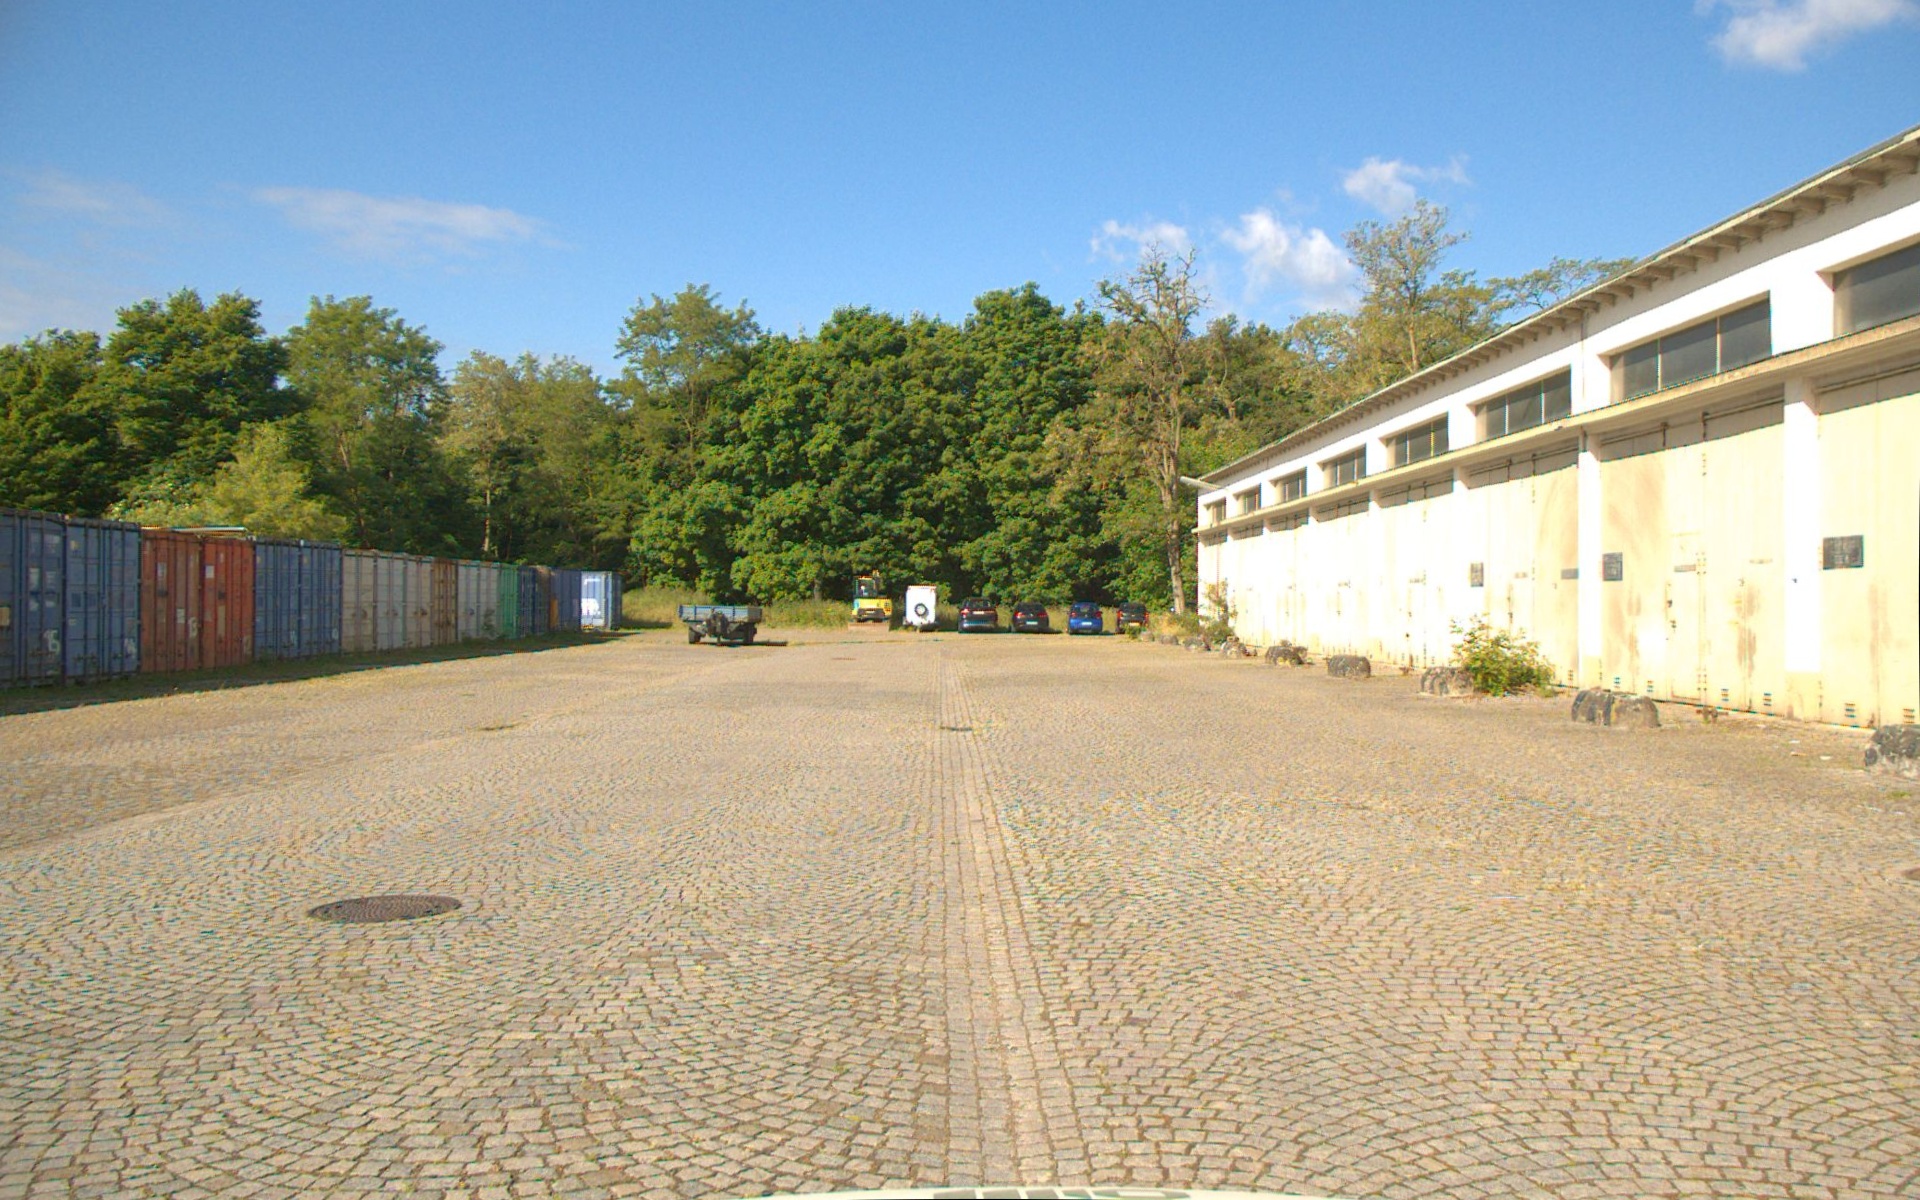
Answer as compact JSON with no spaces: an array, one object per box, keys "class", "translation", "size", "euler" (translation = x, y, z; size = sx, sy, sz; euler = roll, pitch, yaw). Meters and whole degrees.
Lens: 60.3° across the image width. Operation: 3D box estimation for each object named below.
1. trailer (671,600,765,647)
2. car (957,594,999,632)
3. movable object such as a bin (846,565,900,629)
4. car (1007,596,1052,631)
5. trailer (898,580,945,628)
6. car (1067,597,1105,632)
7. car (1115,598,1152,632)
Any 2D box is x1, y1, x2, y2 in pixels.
[{"class":"trailer","translation":[-8.670,0.804,59.877],"size":[2.651,1.491,6.245],"euler":[1,1,-2]},{"class":"car","translation":[0.818,0.608,77.756],"size":[1.826,1.617,4.295],"euler":[1,1,-1]},{"class":"movable object such as a bin","translation":[-4.199,-0.186,80.642],"size":[2.259,2.947,5.751],"euler":[1,1,0]},{"class":"car","translation":[3.255,0.600,78.165],"size":[1.826,1.496,4.295],"euler":[1,1,-1]},{"class":"trailer","translation":[-1.859,0.147,80.088],"size":[2.148,2.131,5.750],"euler":[1,1,-1]},{"class":"car","translation":[5.967,0.654,78.152],"size":[1.707,1.461,4.185],"euler":[1,1,4]},{"class":"car","translation":[8.351,0.693,79.603],"size":[1.707,1.461,4.186],"euler":[1,1,6]}]
